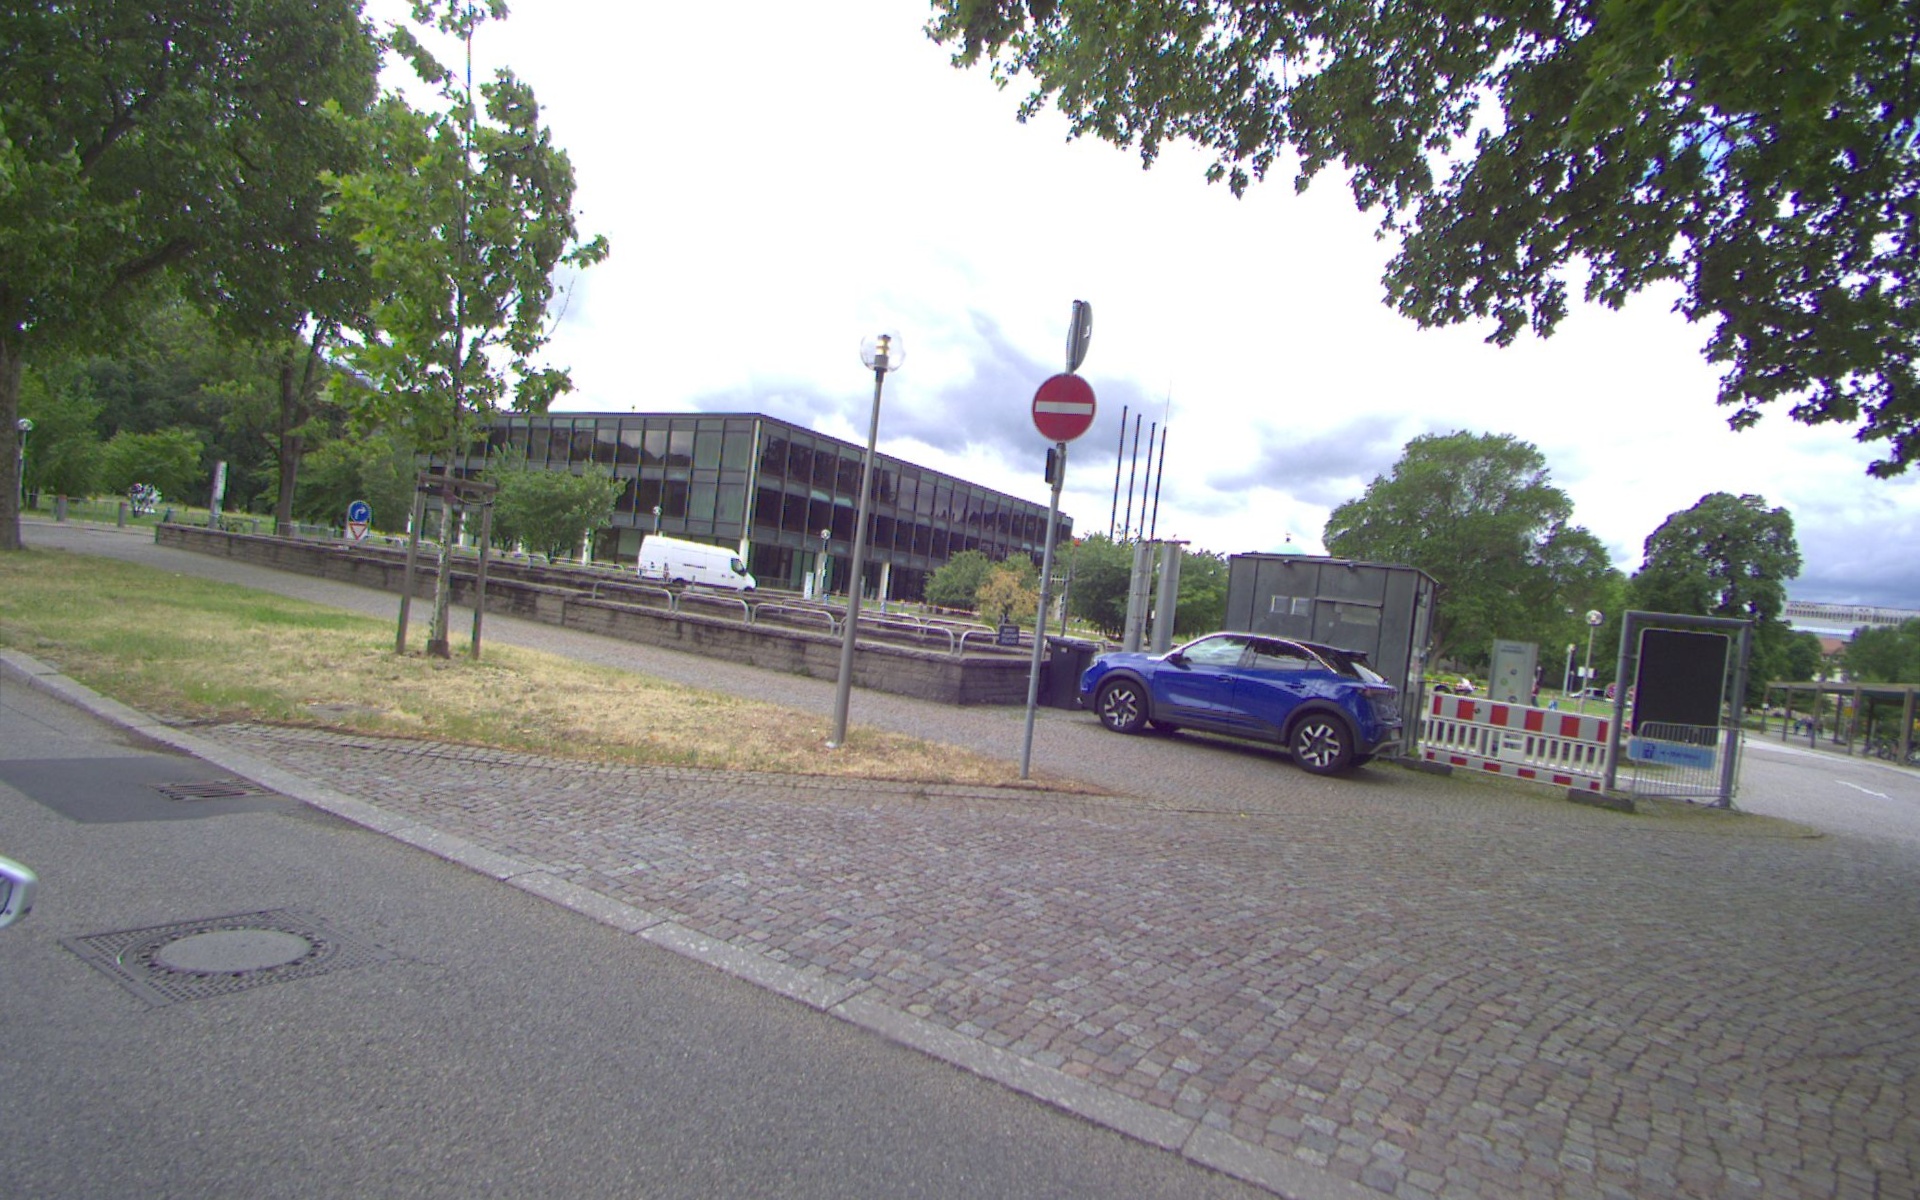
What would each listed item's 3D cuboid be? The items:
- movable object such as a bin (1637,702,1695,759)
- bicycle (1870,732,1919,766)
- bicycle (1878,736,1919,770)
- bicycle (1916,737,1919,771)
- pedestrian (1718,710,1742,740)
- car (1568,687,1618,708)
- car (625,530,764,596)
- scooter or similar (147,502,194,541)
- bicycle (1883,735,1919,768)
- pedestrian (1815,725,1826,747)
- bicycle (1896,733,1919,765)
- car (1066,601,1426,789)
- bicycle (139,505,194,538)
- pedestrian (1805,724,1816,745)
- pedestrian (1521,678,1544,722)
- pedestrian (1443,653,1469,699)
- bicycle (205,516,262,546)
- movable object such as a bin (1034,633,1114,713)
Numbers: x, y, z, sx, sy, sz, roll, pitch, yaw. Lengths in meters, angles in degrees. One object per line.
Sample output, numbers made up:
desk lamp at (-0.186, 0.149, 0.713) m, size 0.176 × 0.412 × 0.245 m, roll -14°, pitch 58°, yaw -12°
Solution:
movable object such as a bin at (19.232, 3.528, 27.448) m, size 1.134 × 1.320 × 1.409 m, roll 7°, pitch 0°, yaw 34°
bicycle at (45.565, 7.207, 48.325) m, size 2.536 × 1.360 × 0.726 m, roll 6°, pitch -2°, yaw 32°
bicycle at (45.088, 7.299, 47.398) m, size 2.536 × 1.360 × 0.726 m, roll 6°, pitch -2°, yaw 32°
bicycle at (42.910, 6.813, 42.870) m, size 2.849 × 1.442 × 0.961 m, roll 6°, pitch -2°, yaw 28°
pedestrian at (51.239, 8.291, 66.942) m, size 0.929 × 1.826 × 0.546 m, roll 7°, pitch -1°, yaw 5°
car at (76.255, 11.729, 121.222) m, size 4.835 × 1.758 × 2.074 m, roll 6°, pitch -2°, yaw 35°
car at (-12.288, -1.661, 47.041) m, size 2.363 × 2.288 × 6.112 m, roll 7°, pitch 0°, yaw 34°
scooter or similar at (-29.378, -2.920, 37.436) m, size 2.190 × 1.259 × 0.636 m, roll 6°, pitch -2°, yaw 35°
bicycle at (44.599, 7.121, 46.565) m, size 2.536 × 1.360 × 0.726 m, roll 6°, pitch -2°, yaw 32°
pedestrian at (75.839, 11.963, 88.655) m, size 0.648 × 1.826 × 0.540 m, roll 8°, pitch -2°, yaw -41°
bicycle at (43.804, 6.822, 45.049) m, size 2.536 × 1.360 × 0.726 m, roll 6°, pitch -2°, yaw 32°
car at (3.619, 1.120, 12.995) m, size 3.961 × 1.571 × 1.761 m, roll 9°, pitch 1°, yaw 34°
bicycle at (-32.742, -3.253, 41.520) m, size 2.297 × 1.076 × 0.956 m, roll 6°, pitch -2°, yaw 32°
pedestrian at (75.619, 11.969, 89.453) m, size 0.648 × 1.826 × 0.540 m, roll 8°, pitch -2°, yaw -41°
pedestrian at (24.973, 4.364, 43.914) m, size 0.537 × 1.826 × 0.500 m, roll 7°, pitch -1°, yaw 5°
pedestrian at (23.069, 3.522, 46.775) m, size 0.799 × 2.037 × 0.625 m, roll 8°, pitch -2°, yaw -39°
bicycle at (-31.476, -2.983, 43.563) m, size 2.741 × 0.986 × 0.956 m, roll 6°, pitch -2°, yaw 32°
movable object such as a bin at (1.789, 1.136, 15.735) m, size 0.757 × 1.078 × 1.009 m, roll 10°, pitch 2°, yaw 29°
